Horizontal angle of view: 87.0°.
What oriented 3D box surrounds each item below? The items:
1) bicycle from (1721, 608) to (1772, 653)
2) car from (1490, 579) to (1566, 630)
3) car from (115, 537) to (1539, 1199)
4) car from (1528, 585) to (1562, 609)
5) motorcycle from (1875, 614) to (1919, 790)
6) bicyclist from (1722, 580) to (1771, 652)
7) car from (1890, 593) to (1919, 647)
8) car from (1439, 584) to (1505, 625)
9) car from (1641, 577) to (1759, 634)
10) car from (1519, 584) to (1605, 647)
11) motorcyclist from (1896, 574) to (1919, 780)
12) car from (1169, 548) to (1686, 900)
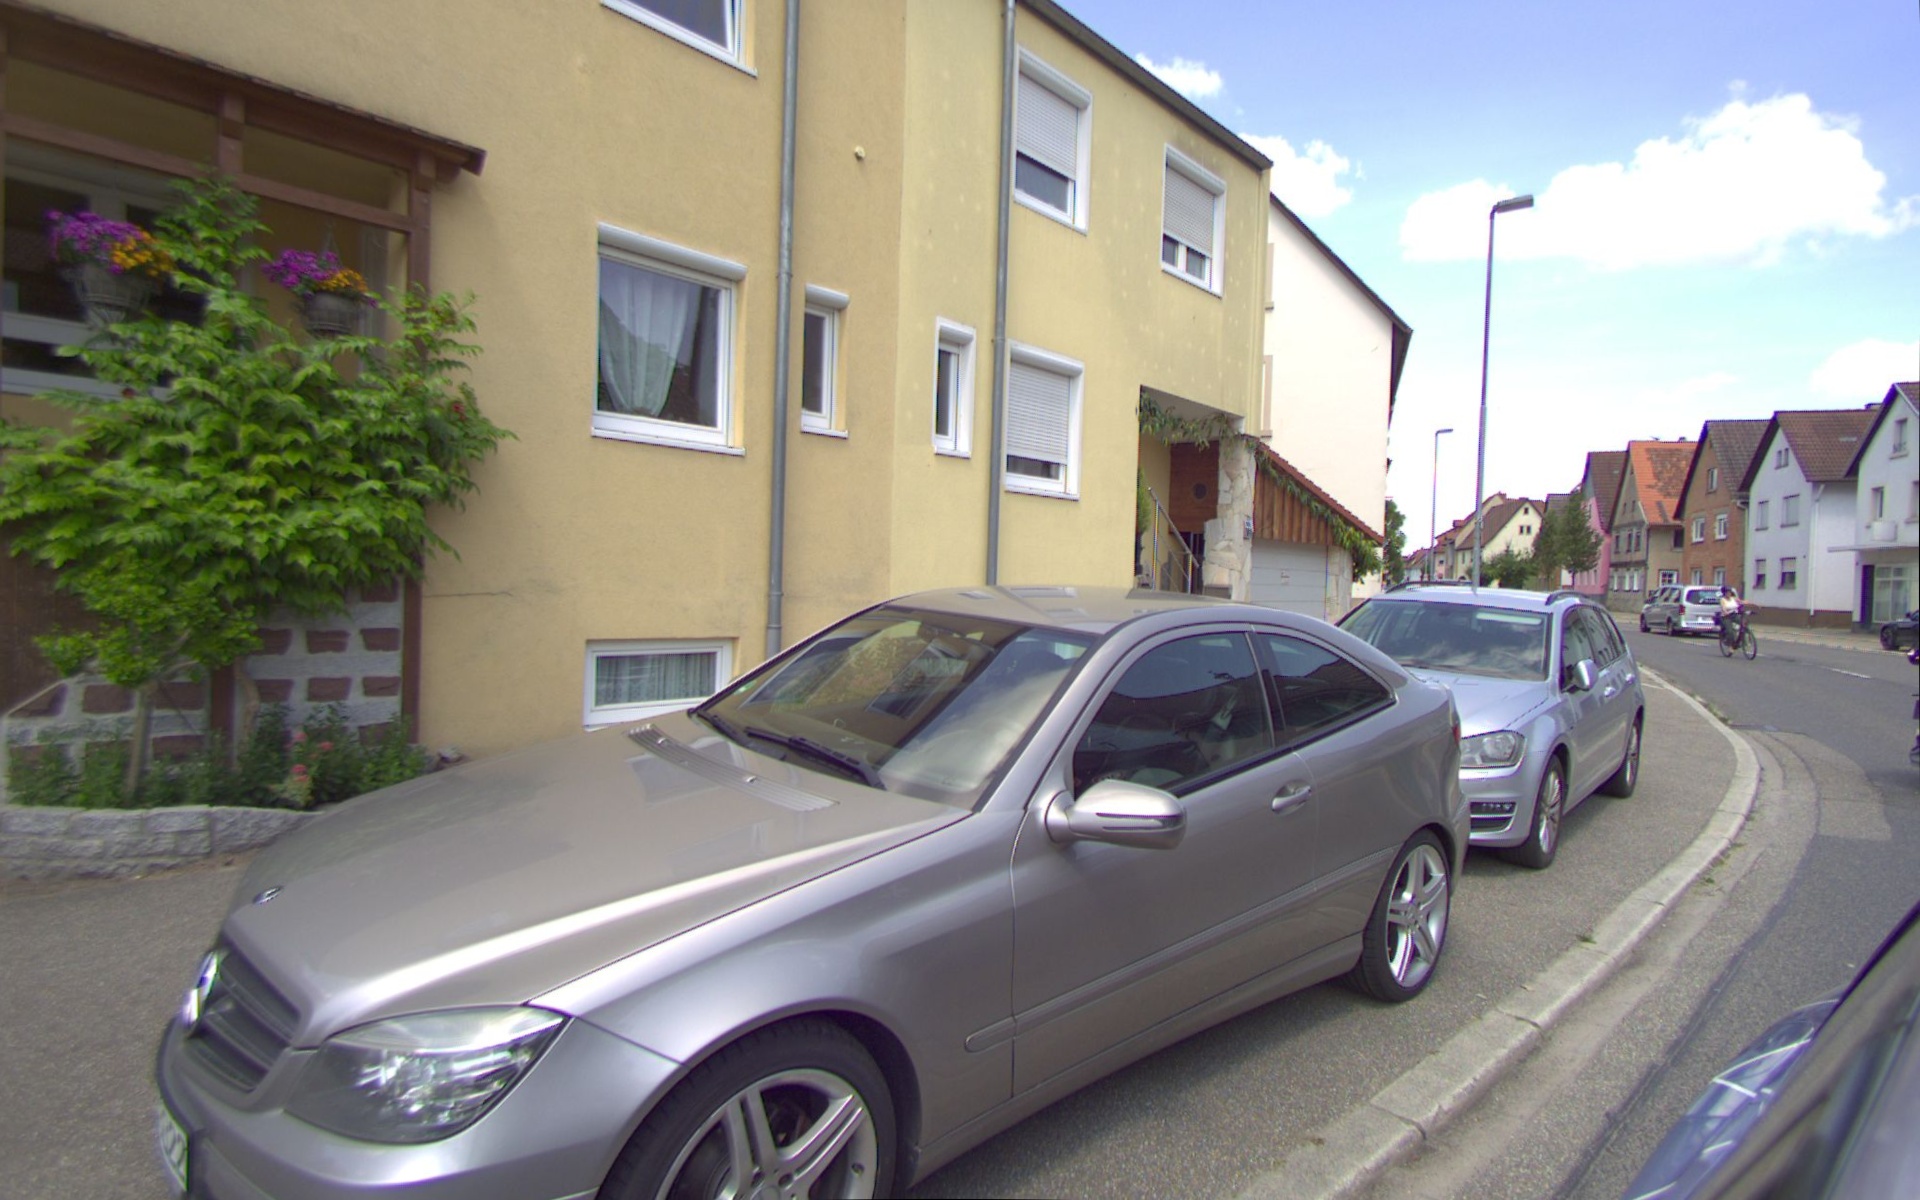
[{"bbox_3d":[19.082,0.722,24.574,0.929,1.024,1.898,1,0,38],"label":"bicycle"},{"bbox_3d":[18.714,0.175,33.478,1.755,1.549,3.966,2,0,24],"label":"car"},{"bbox_3d":[0.125,0.581,3.300,4.350,1.416,1.773,-2,6,-43],"label":"car"},{"bbox_3d":[42.100,-0.231,72.827,1.665,1.549,3.473,0,2,23],"label":"car"},{"bbox_3d":[7.937,0.753,7.844,2.066,1.257,0.984,0,0,-40],"label":"motorcycle"},{"bbox_3d":[19.176,0.365,24.685,0.905,1.709,0.750,1,2,39],"label":"bicyclist"},{"bbox_3d":[26.187,0.538,26.108,1.790,1.438,4.515,1,0,23],"label":"car"},{"bbox_3d":[22.020,0.138,43.651,1.641,1.668,3.984,0,1,14],"label":"car"},{"bbox_3d":[26.583,0.127,36.576,1.974,1.822,4.908,0,2,18],"label":"car"},{"bbox_3d":[15.861,0.343,26.815,1.713,1.402,3.962,3,3,28],"label":"car"},{"bbox_3d":[8.139,0.615,7.987,0.786,1.619,1.000,-1,2,-40],"label":"motorcyclist"},{"bbox_3d":[3.402,0.531,6.878,1.885,1.548,4.268,6,4,43],"label":"car"}]
